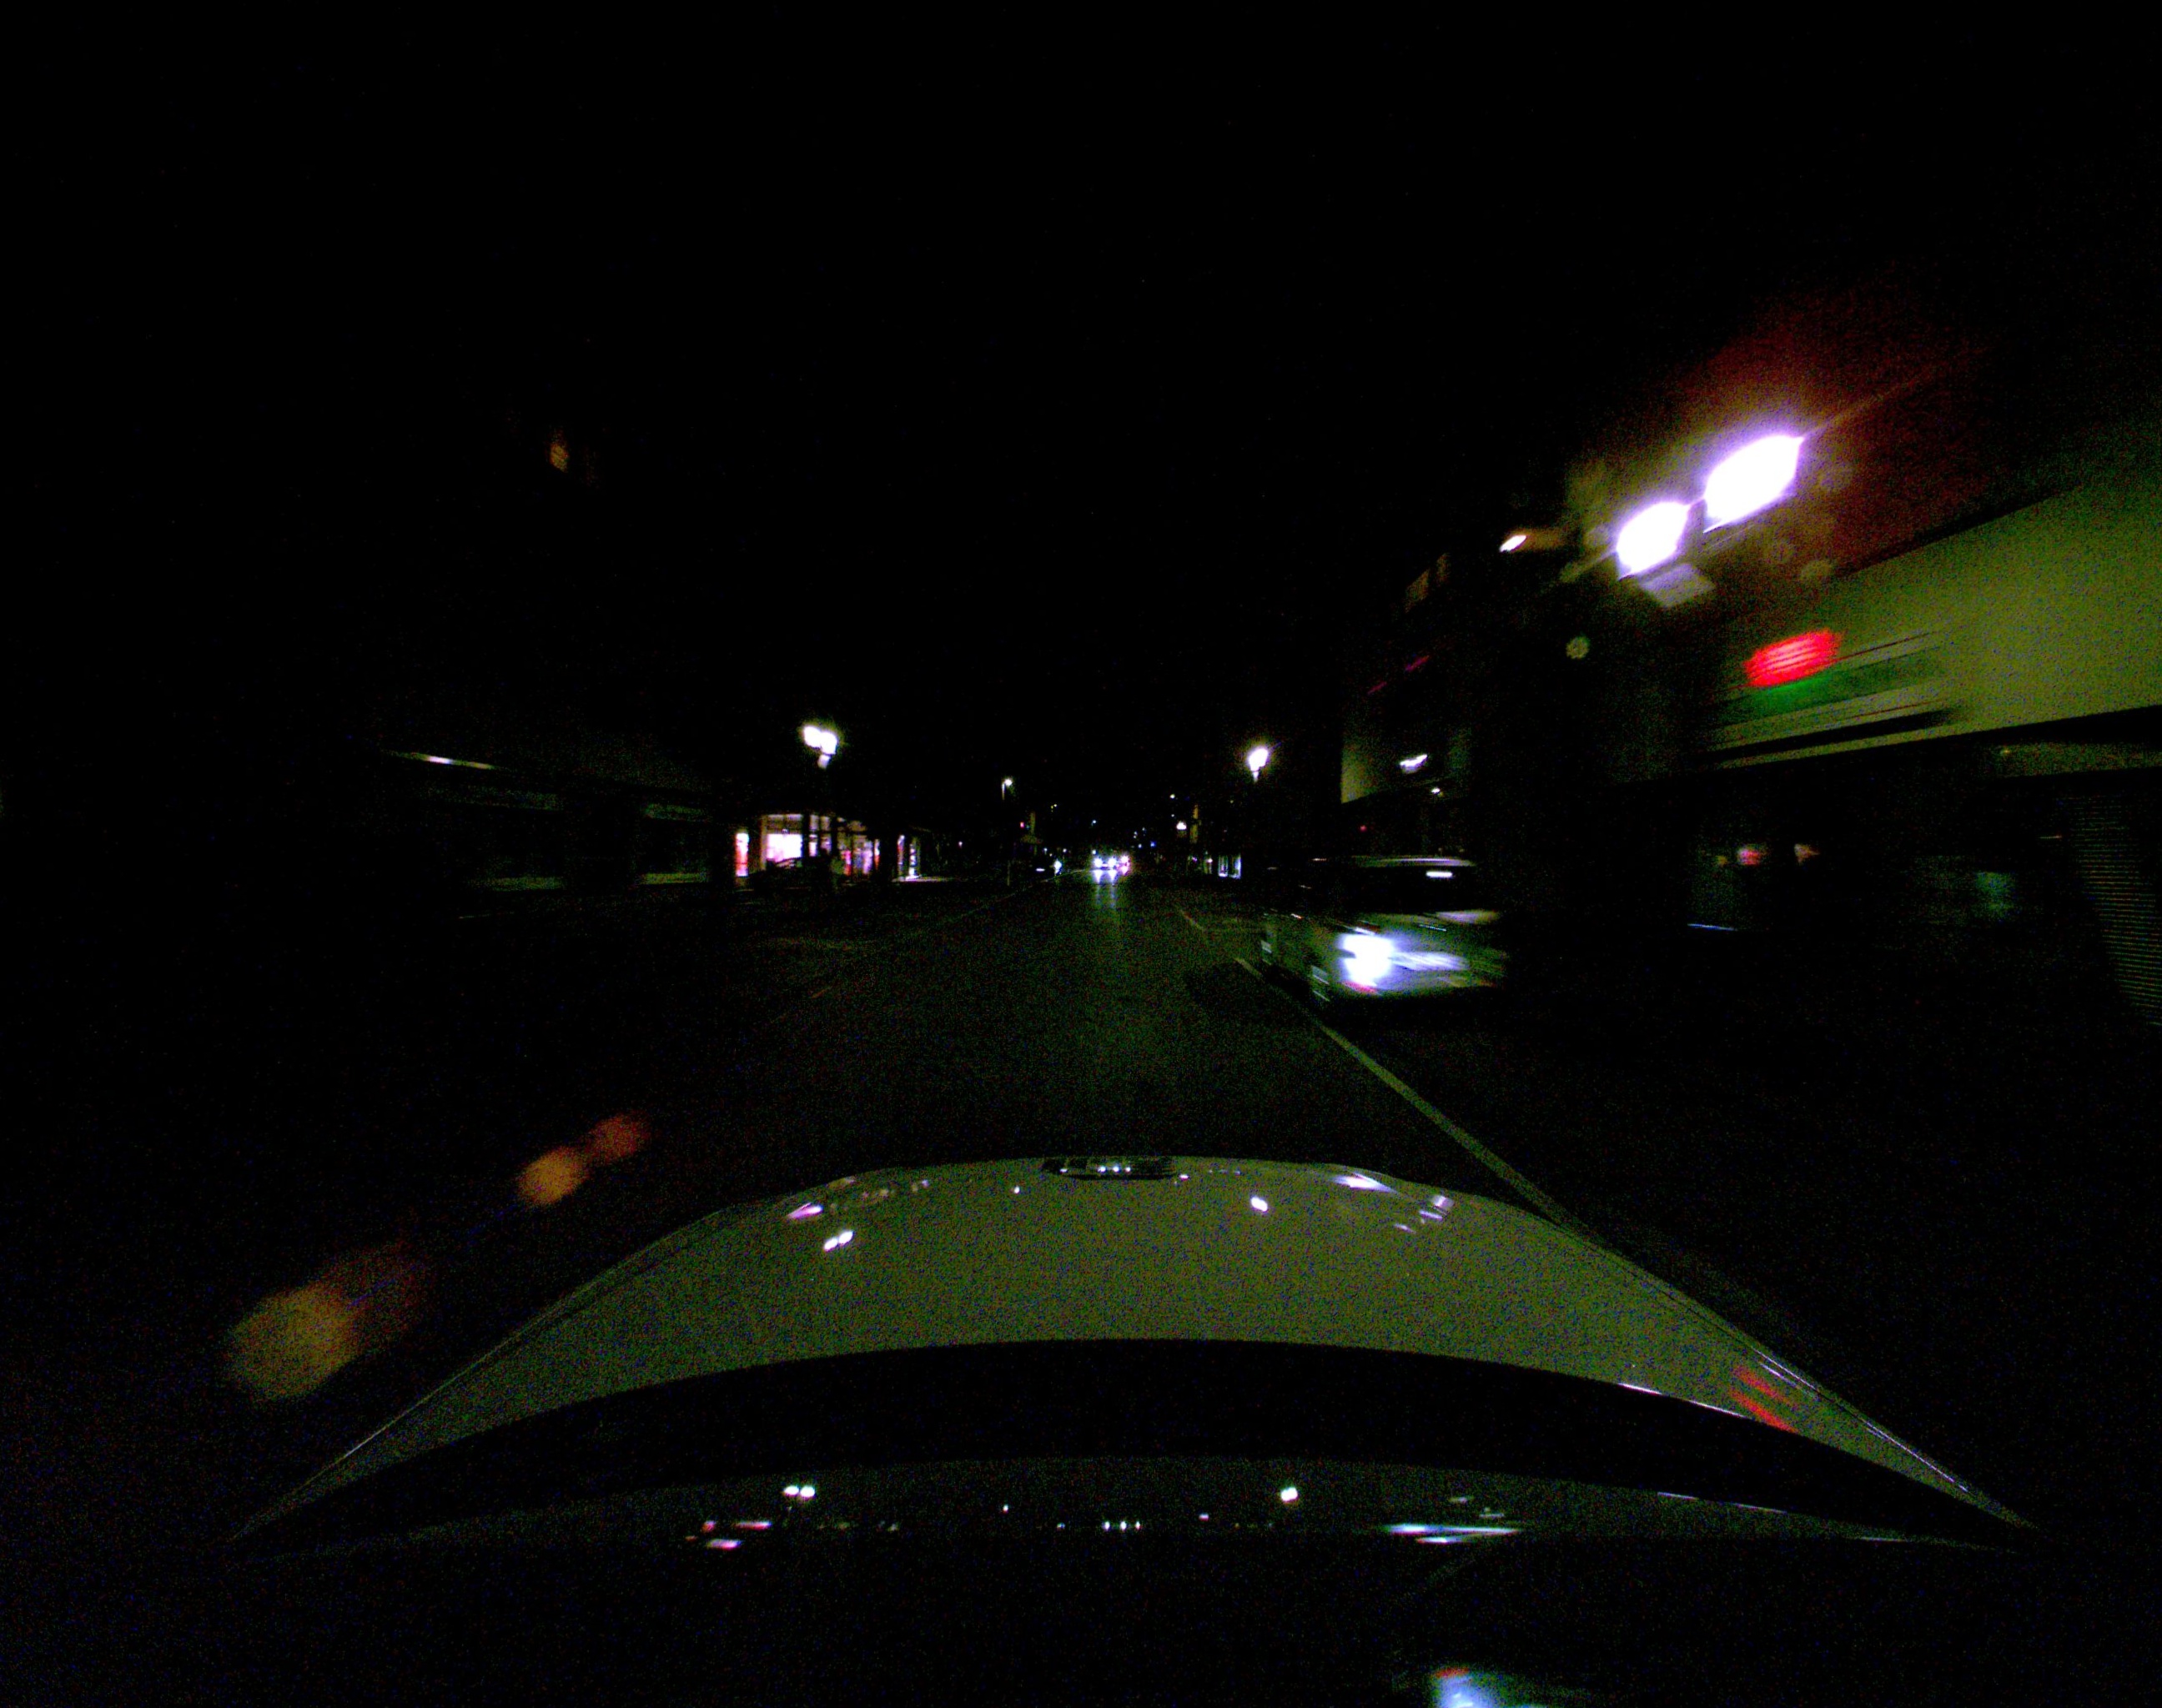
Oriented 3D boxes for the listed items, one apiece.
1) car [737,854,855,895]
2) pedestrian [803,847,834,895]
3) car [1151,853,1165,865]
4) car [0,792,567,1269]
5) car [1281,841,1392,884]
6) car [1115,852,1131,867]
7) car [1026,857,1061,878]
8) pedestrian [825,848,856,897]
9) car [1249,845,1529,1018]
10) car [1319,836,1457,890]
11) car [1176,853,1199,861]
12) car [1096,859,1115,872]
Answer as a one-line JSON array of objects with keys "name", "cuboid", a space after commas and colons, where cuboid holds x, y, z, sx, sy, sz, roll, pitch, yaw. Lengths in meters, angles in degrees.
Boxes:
[{"name": "car", "cuboid": [-11.758, 0.825, 33.709, 4.146, 1.438, 1.844, -3, -1, 5]}, {"name": "pedestrian", "cuboid": [-9.102, 0.580, 28.276, 0.766, 1.656, 0.818, 0, 1, 3]}, {"name": "car", "cuboid": [10.420, 0.676, 110.438, 1.767, 1.652, 4.368, 0, 0, 4]}, {"name": "car", "cuboid": [-4.795, 0.603, 3.285, 2.009, 1.691, 5.006, 2, 0, 3]}, {"name": "car", "cuboid": [10.452, 0.358, 33.478, 3.974, 1.476, 1.751, -4, -1, 0]}, {"name": "car", "cuboid": [4.998, 0.645, 97.106, 1.767, 1.652, 4.369, 0, 0, 4]}, {"name": "car", "cuboid": [-2.579, 0.892, 57.218, 1.906, 1.370, 4.462, 0, 0, 4]}, {"name": "pedestrian", "cuboid": [-8.327, 0.616, 28.217, 0.766, 1.656, 0.782, 0, 1, 3]}, {"name": "car", "cuboid": [2.993, 0.676, 8.758, 1.669, 1.460, 3.676, 0, -1, 1]}, {"name": "car", "cuboid": [10.639, 0.289, 28.425, 4.065, 1.581, 1.816, -4, 0, -1]}, {"name": "car", "cuboid": [18.769, 0.499, 143.190, 3.964, 1.416, 2.004, 0, -2, 8]}, {"name": "car", "cuboid": [2.462, 1.146, 81.311, 1.715, 1.247, 4.241, 0, 0, 4]}]
